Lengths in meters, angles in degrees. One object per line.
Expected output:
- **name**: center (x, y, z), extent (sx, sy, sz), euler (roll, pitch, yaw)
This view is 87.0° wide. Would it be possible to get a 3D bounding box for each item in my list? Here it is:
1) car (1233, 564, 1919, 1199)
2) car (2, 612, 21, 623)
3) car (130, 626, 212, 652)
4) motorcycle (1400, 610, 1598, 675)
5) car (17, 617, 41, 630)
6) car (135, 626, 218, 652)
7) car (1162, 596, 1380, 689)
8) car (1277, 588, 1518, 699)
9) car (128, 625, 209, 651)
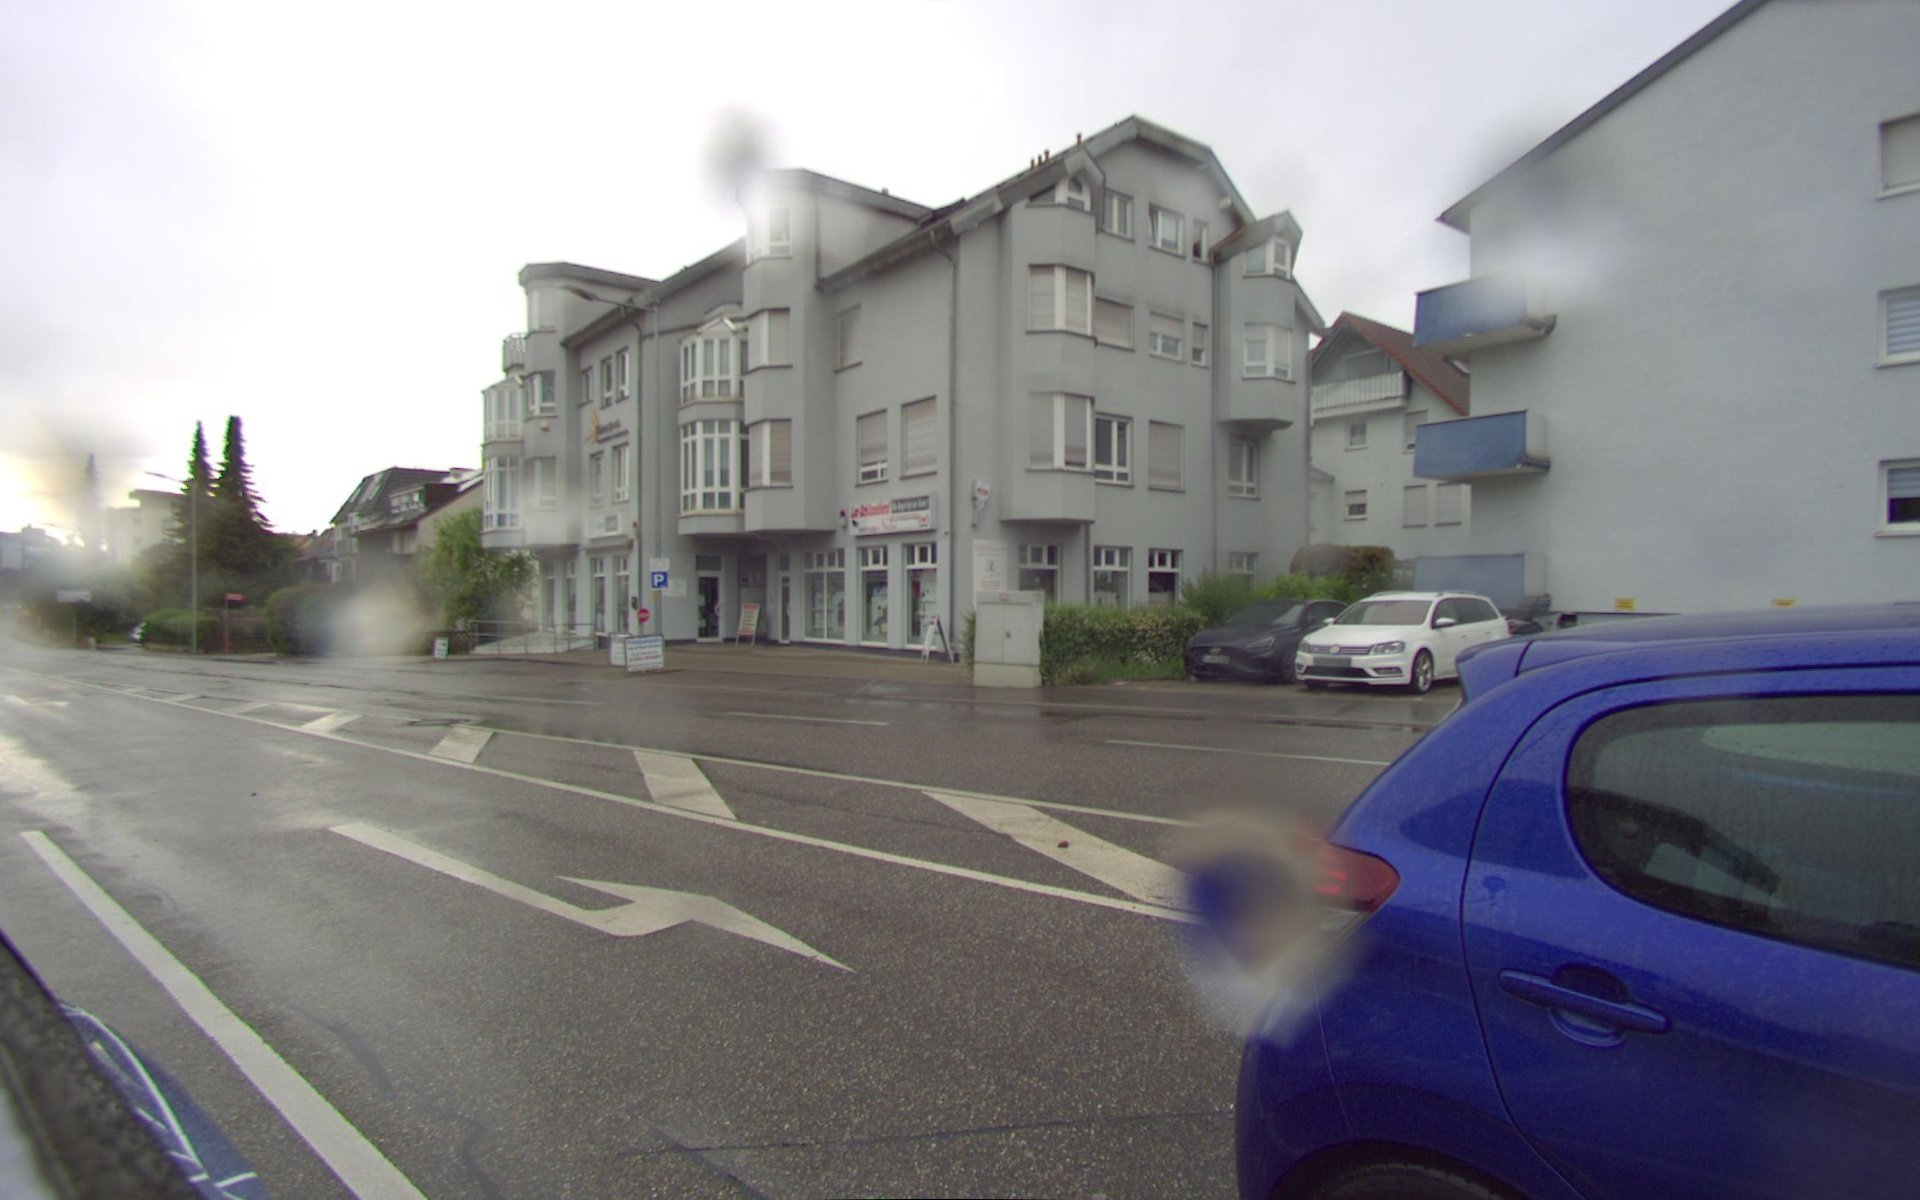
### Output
- **car**: center (2.220, 0.637, 1.248), extent (3.269, 1.421, 1.562), euler (-2, 0, 42)
- **car**: center (-148.768, 2.783, 158.773), extent (1.824, 1.777, 4.129), euler (0, -1, -39)
- **car**: center (-51.363, 2.513, 65.923), extent (4.096, 1.453, 1.892), euler (-2, 0, -42)
- **motorcycle**: center (9.763, 0.783, 18.533), extent (3.112, 1.108, 0.869), euler (-2, -1, 25)
- **car**: center (-124.456, 3.168, 135.301), extent (1.968, 1.628, 4.008), euler (0, -1, -38)
- **car**: center (-49.629, 2.444, 64.131), extent (3.978, 1.453, 1.814), euler (-2, 0, -44)
- **car**: center (5.466, 0.661, 17.545), extent (3.940, 1.421, 1.906), euler (0, -1, -43)
- **car**: center (6.841, 0.594, 15.625), extent (4.169, 1.485, 1.906), euler (0, -1, -43)
- **car**: center (-53.158, 2.506, 68.002), extent (4.058, 1.557, 2.002), euler (-2, 0, -44)
